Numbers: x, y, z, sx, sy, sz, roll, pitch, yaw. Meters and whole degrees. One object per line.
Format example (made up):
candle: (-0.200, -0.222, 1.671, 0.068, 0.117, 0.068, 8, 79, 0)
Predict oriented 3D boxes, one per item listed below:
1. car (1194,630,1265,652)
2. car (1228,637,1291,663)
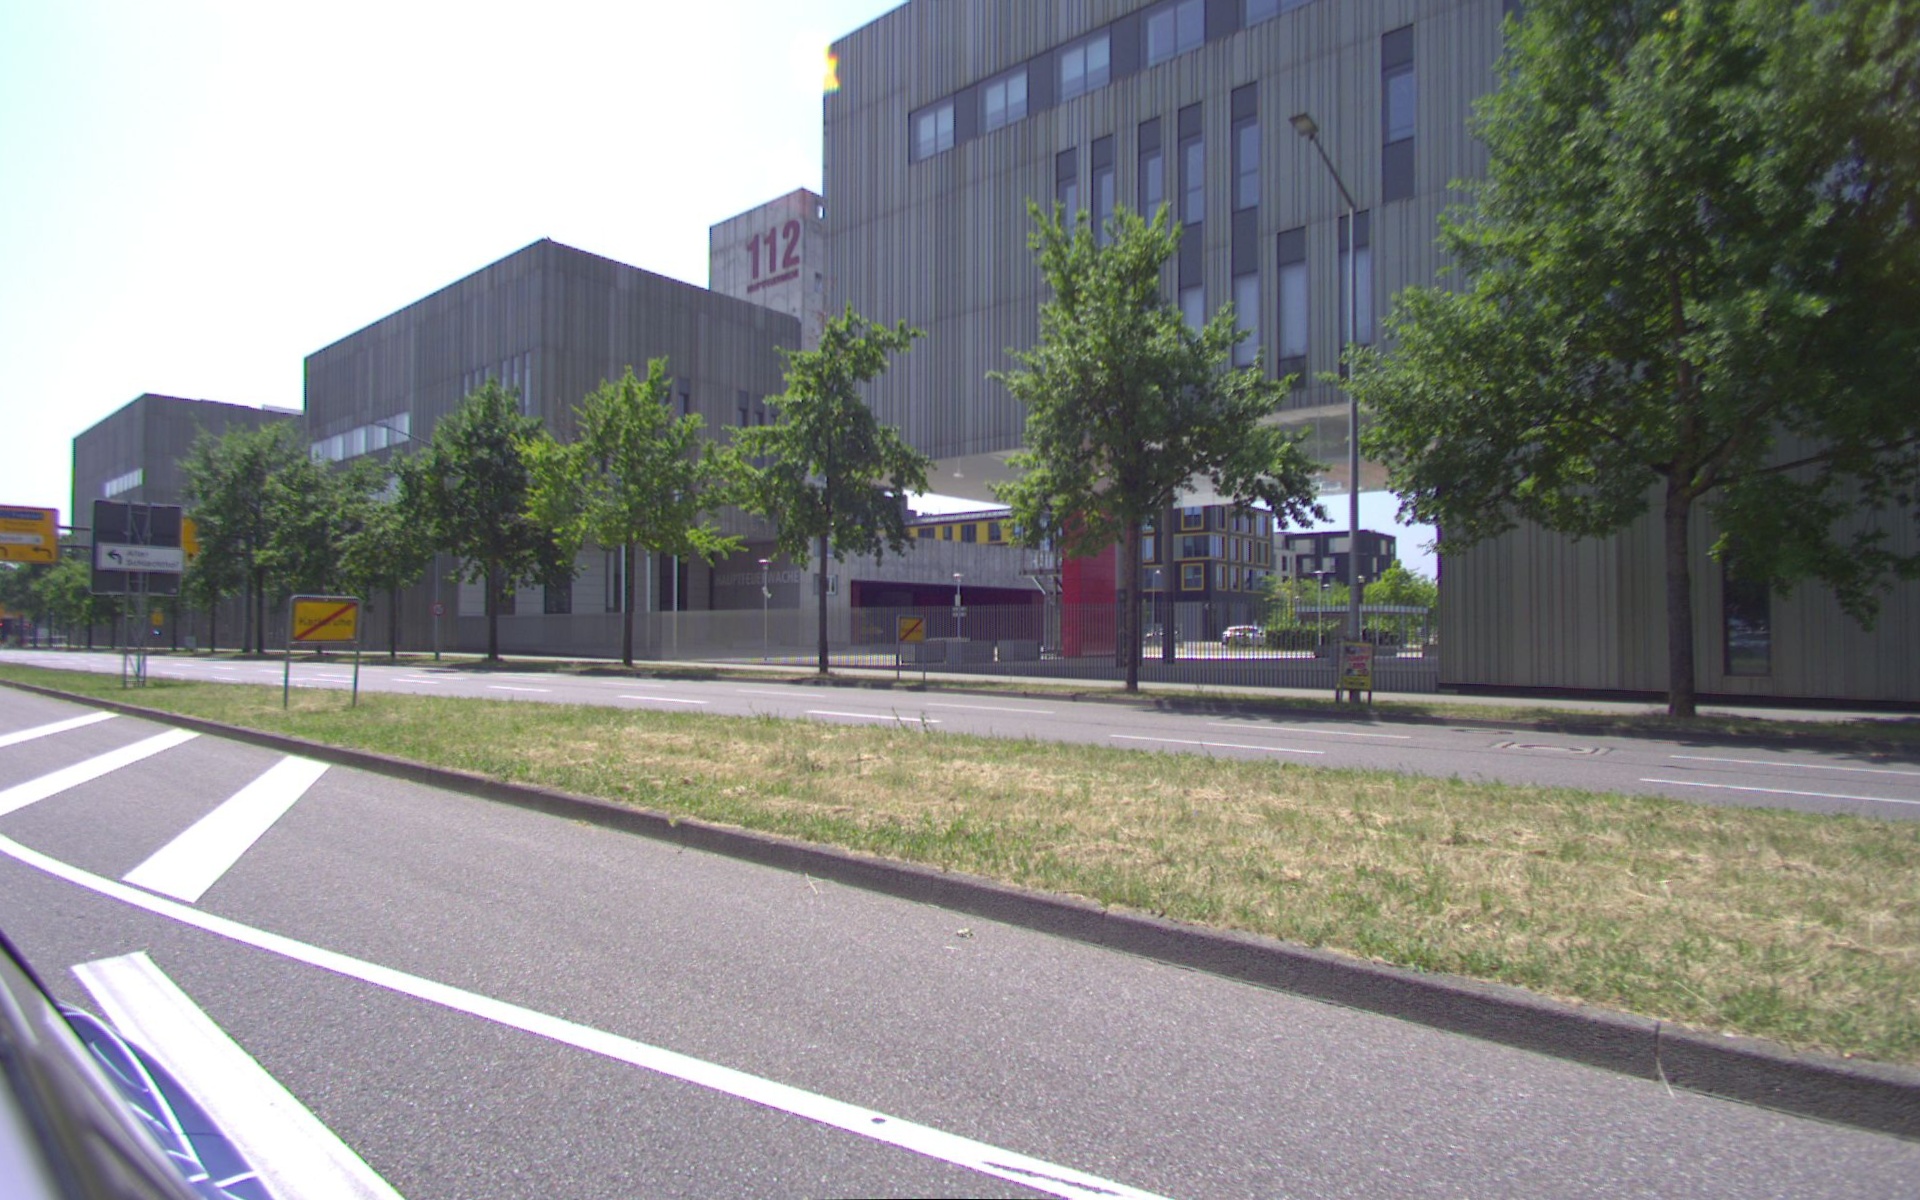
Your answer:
car: (17.584, 2.672, 66.132, 3.998, 1.398, 1.972, -2, -2, 41)
car: (20.315, 3.359, 68.656, 3.773, 1.709, 1.639, -2, -2, 42)
